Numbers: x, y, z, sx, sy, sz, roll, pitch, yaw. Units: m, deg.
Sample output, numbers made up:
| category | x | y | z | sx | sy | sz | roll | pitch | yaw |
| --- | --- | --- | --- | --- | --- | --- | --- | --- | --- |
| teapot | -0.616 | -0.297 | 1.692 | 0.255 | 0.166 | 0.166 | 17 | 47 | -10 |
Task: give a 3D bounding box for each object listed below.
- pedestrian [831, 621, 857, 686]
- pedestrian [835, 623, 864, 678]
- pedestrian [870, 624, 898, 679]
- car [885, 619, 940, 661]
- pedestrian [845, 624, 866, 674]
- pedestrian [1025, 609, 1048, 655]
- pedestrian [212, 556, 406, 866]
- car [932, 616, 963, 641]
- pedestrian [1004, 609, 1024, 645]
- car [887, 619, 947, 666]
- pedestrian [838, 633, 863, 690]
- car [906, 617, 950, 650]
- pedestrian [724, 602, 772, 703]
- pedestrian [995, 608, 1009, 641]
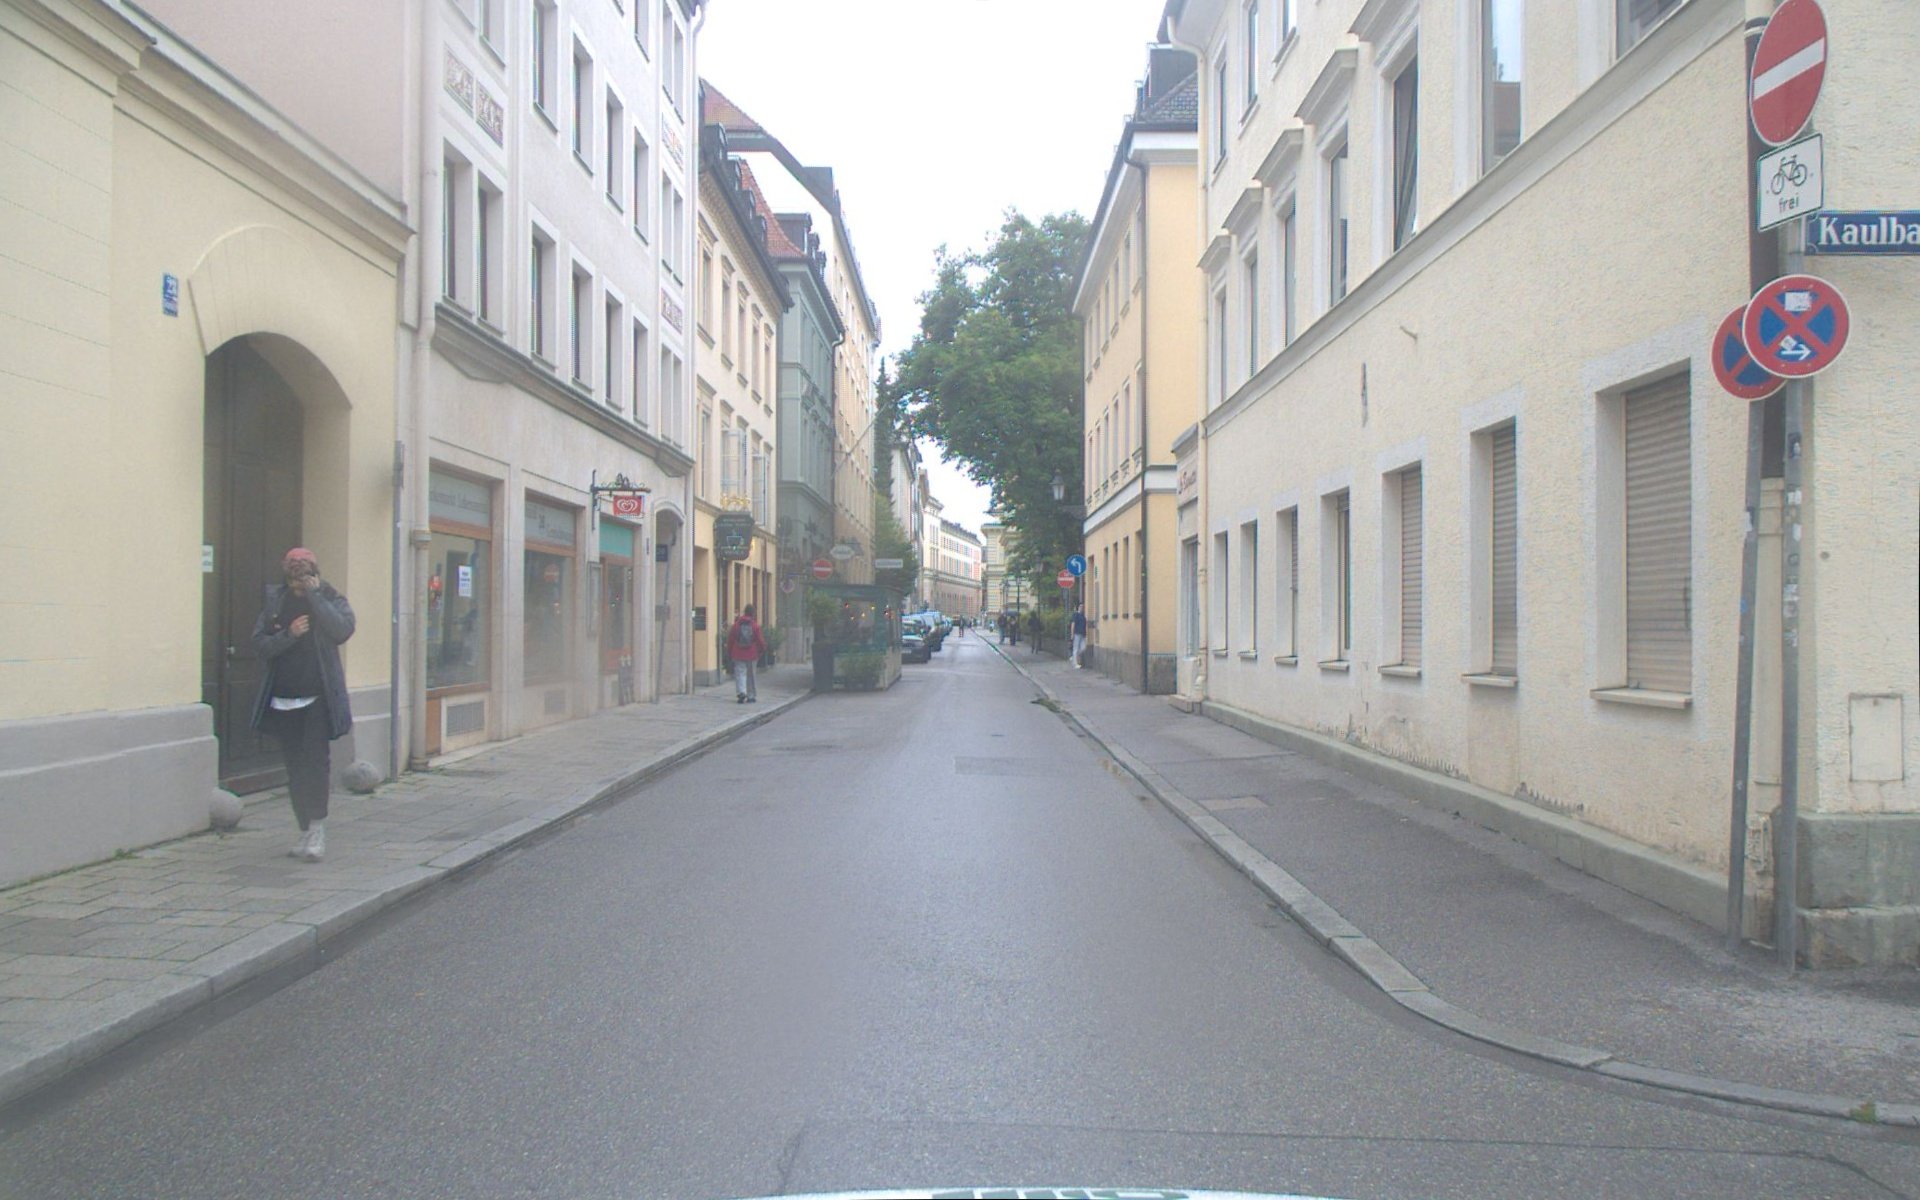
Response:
| category | x | y | z | sx | sy | sz | roll | pitch | yaw |
| --- | --- | --- | --- | --- | --- | --- | --- | --- | --- |
| pedestrian | -2.444 | 1.126 | 34.917 | 0.499 | 1.350 | 0.630 | 1 | -1 | -2 |
| pedestrian | -2.752 | 1.251 | 41.168 | 0.660 | 1.350 | 0.696 | 1 | -1 | -2 |
| pedestrian | -1.879 | 1.266 | 41.034 | 0.660 | 1.350 | 0.696 | 1 | -1 | -2 |
| car | -1.726 | 1.462 | 61.101 | 1.742 | 1.492 | 3.543 | 1 | -1 | 3 |
| pedestrian | -2.667 | 1.252 | 42.229 | 0.499 | 1.259 | 0.630 | 1 | -1 | -2 |
| pedestrian | 3.096 | 1.286 | 66.736 | 0.862 | 1.834 | 1.046 | 1 | -1 | 1 |
| pedestrian | -3.926 | 0.636 | 10.049 | 0.793 | 1.786 | 0.989 | 1 | 1 | -2 |
| car | -0.785 | 1.809 | 105.784 | 1.742 | 1.492 | 3.543 | 1 | -1 | 3 |
| pedestrian | 2.805 | 1.387 | 85.666 | 0.994 | 1.834 | 1.349 | 1 | -1 | 1 |
| car | -1.426 | 1.420 | 56.344 | 1.742 | 1.492 | 3.664 | 1 | -1 | 3 |
| pedestrian | -2.371 | 1.335 | 35.903 | 0.499 | 1.208 | 0.630 | 1 | -1 | -2 |
| car | -1.462 | 1.523 | 76.058 | 1.742 | 1.492 | 3.543 | 1 | -1 | 3 |
| pedestrian | -3.718 | 0.907 | 29.025 | 0.750 | 1.738 | 0.785 | 0 | -1 | -2 |
| pedestrian | 2.323 | 1.353 | 91.556 | 0.777 | 1.834 | 0.903 | 1 | -1 | 1 |
